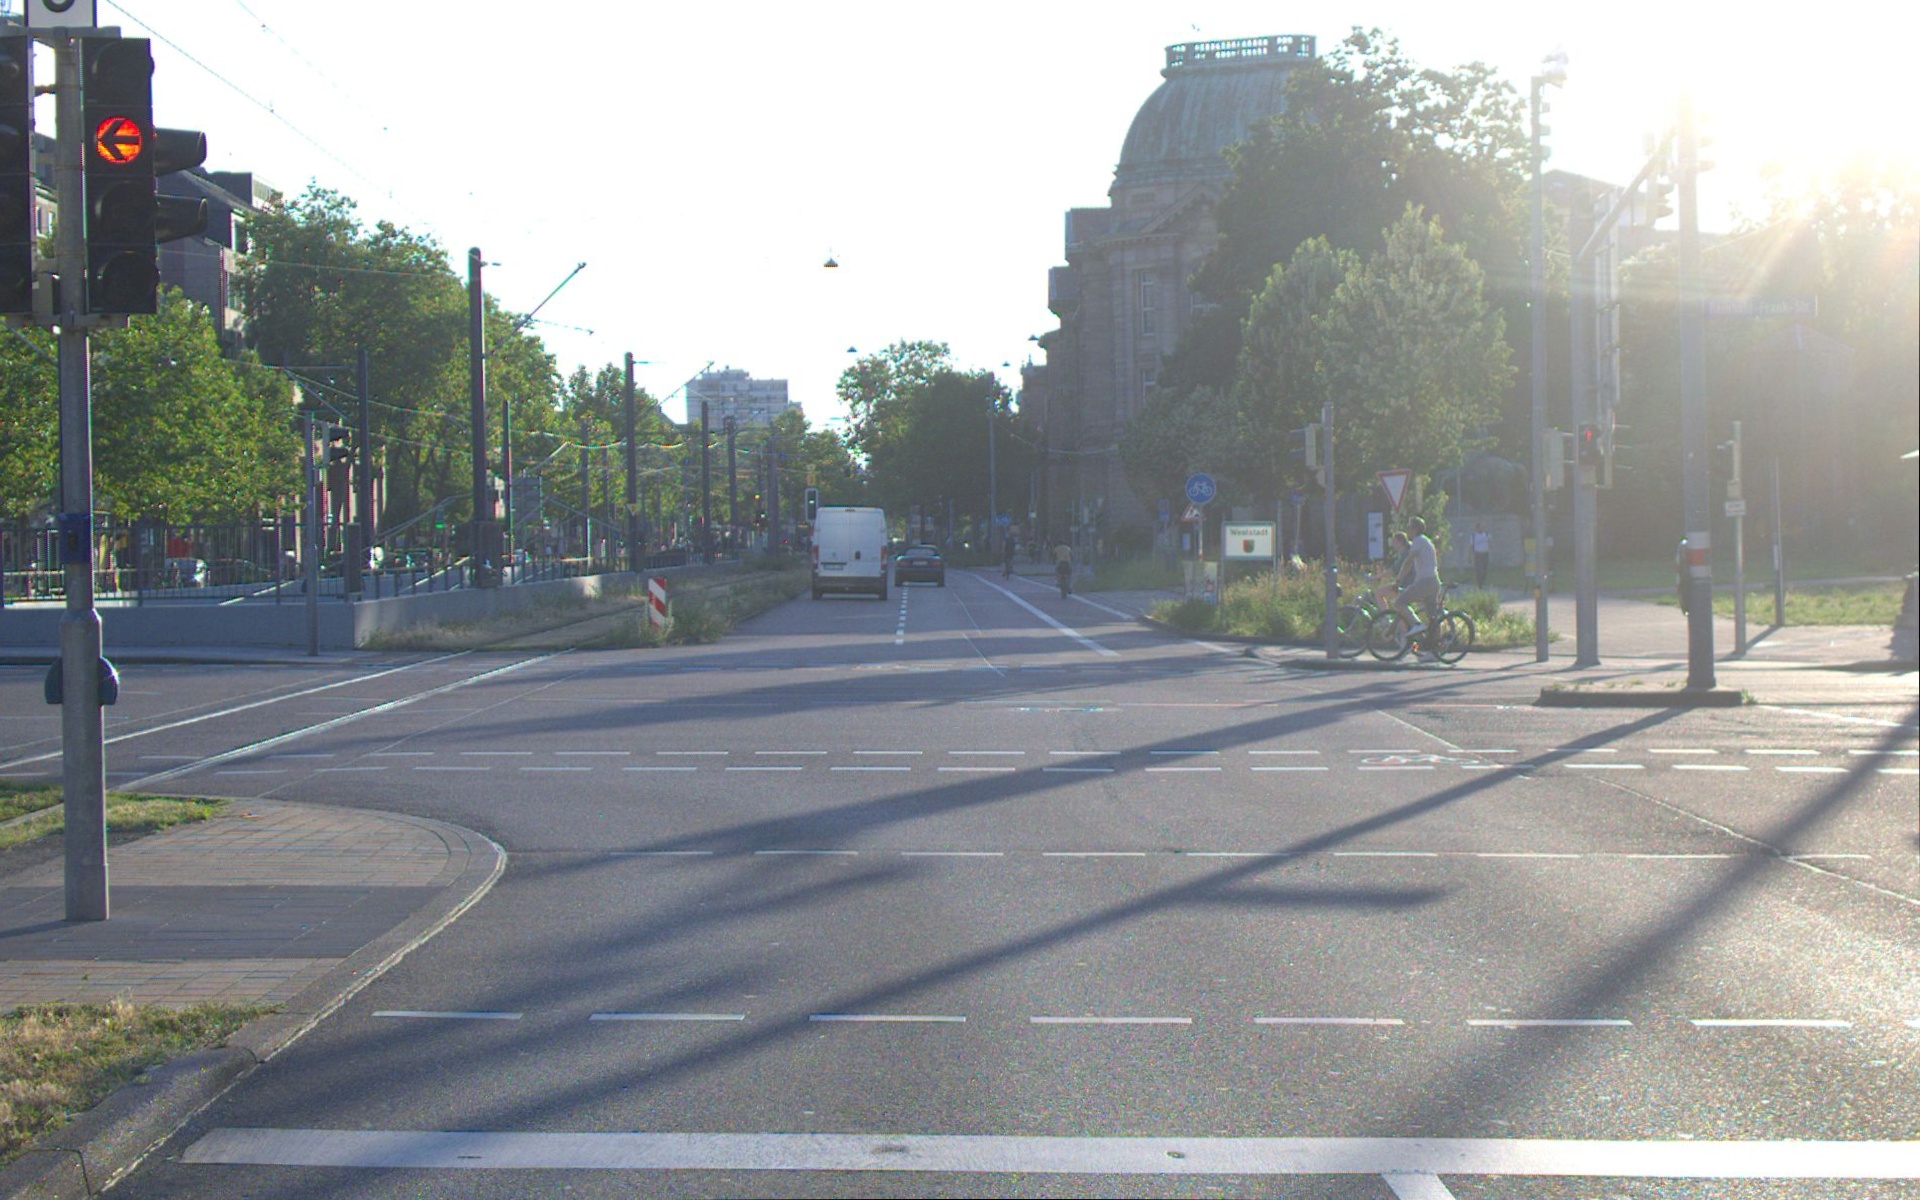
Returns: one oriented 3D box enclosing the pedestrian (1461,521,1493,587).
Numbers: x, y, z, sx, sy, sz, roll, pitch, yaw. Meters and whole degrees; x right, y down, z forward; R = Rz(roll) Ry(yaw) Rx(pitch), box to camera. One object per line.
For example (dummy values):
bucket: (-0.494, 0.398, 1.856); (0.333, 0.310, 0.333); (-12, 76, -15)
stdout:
pedestrian: (12.761, -1.130, 84.852); (0.682, 1.605, 0.613); (-1, 2, 0)

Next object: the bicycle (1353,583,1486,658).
bicycle: (6.110, 0.271, 45.762); (1.728, 0.966, 0.609); (0, 2, 5)

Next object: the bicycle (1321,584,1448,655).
bicycle: (5.884, 0.266, 47.699); (1.718, 0.966, 0.609); (0, 2, 5)

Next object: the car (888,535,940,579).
car: (-1.583, -1.502, 119.772); (1.737, 1.381, 4.001); (-1, 2, 0)

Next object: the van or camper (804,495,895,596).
van or camper: (-2.964, -1.514, 93.408); (2.263, 2.616, 4.503); (-1, 2, 0)

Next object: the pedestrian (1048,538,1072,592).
pedestrian: (2.813, -0.981, 96.387); (0.616, 1.470, 0.800); (-1, 2, 4)

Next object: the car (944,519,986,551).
car: (0.257, -3.325, 175.366); (1.794, 1.560, 4.001); (-1, 2, -4)

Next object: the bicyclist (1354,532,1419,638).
bicyclist: (5.914, -0.213, 47.679); (0.853, 1.437, 0.663); (-1, 2, 5)

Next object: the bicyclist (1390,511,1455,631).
bicyclist: (6.149, -0.391, 45.740); (0.797, 1.566, 0.663); (-1, 2, 5)
